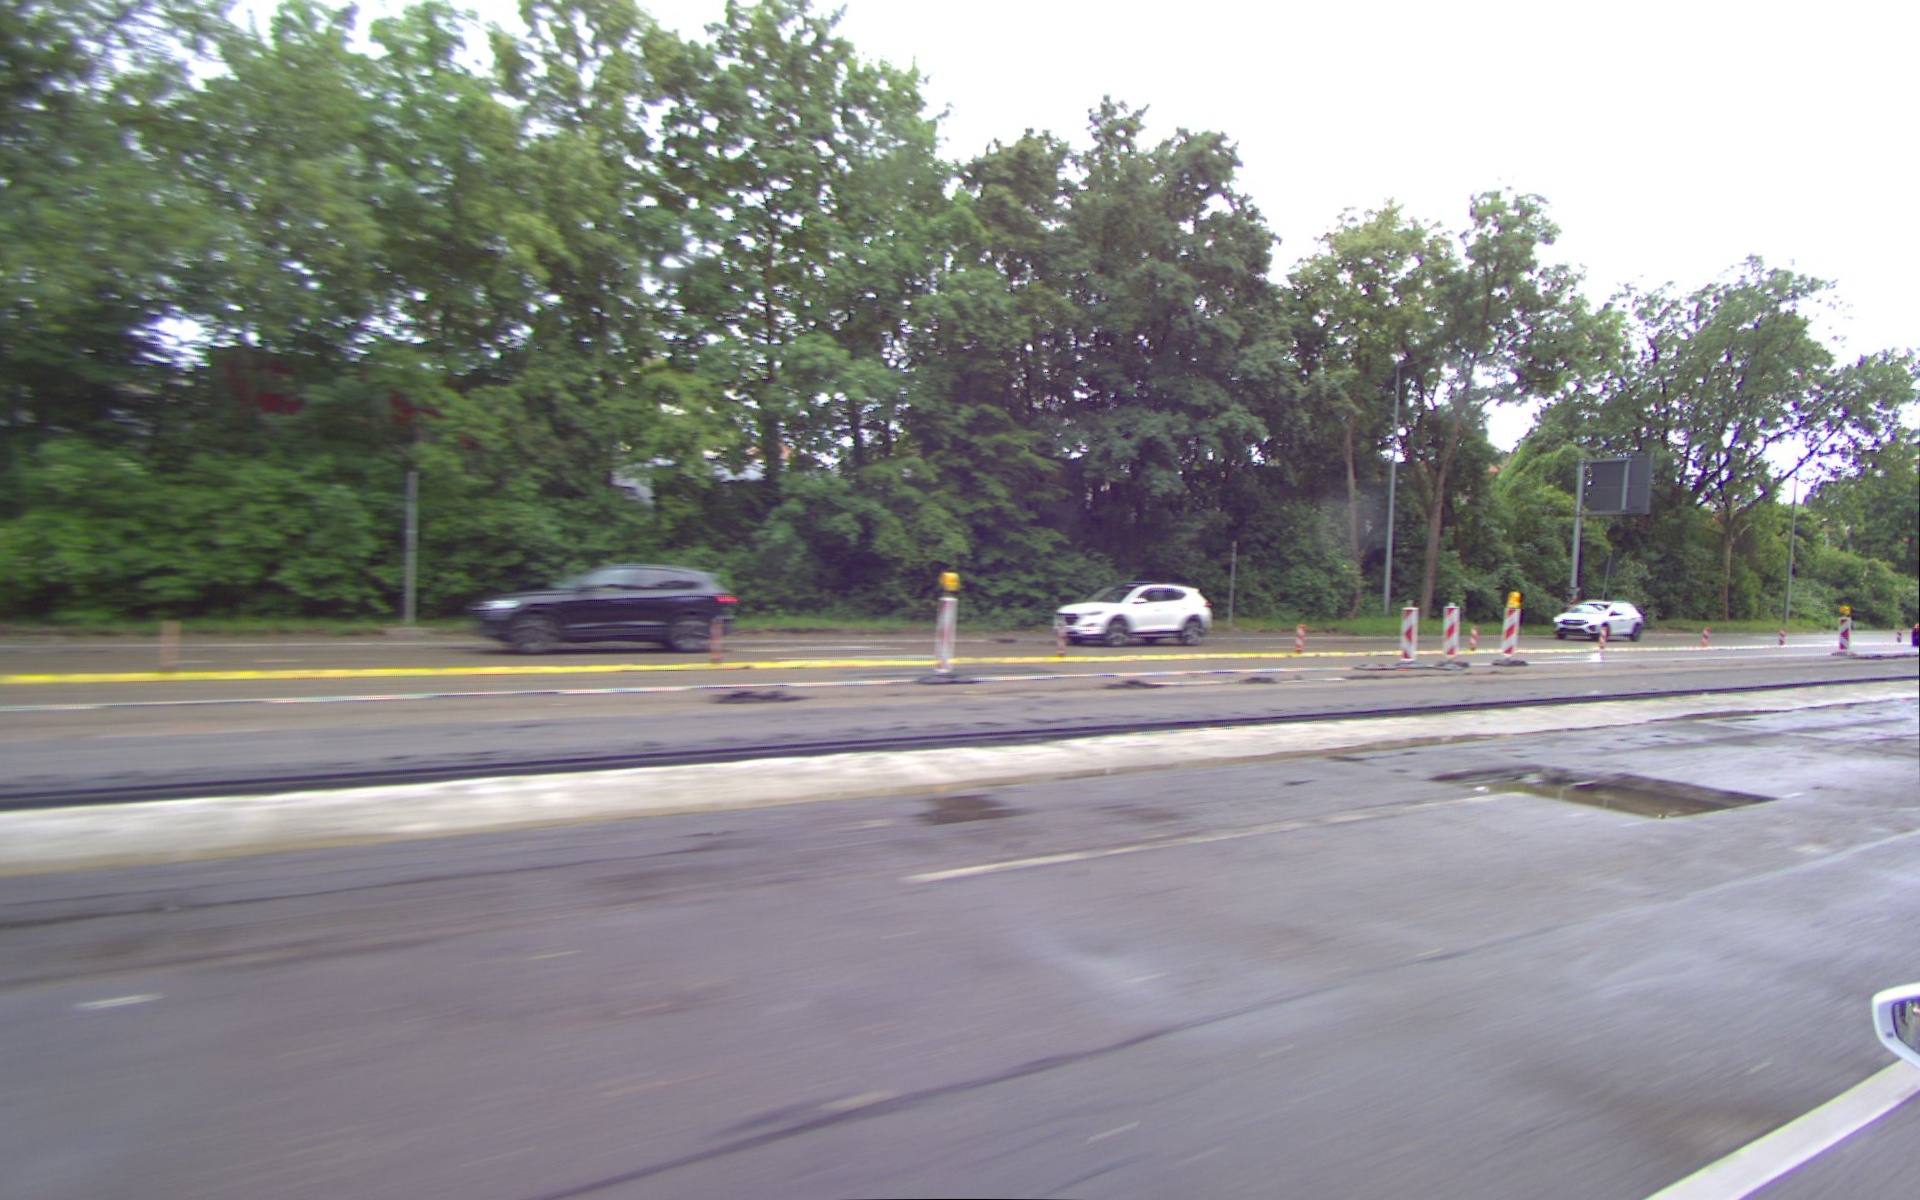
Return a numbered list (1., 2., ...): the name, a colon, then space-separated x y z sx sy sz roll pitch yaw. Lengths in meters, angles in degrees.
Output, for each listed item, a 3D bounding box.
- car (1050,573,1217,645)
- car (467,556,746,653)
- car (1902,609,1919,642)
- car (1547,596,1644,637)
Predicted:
1. car: 4.672 0.249 26.799 4.333 1.774 1.766 1 1 -33
2. car: -6.793 0.122 19.527 4.862 1.685 1.766 1 0 -33
3. car: 44.122 1.167 45.244 3.999 1.423 1.597 1 2 -34
4. car: 25.193 0.670 39.771 4.111 1.561 1.657 1 -1 -32
